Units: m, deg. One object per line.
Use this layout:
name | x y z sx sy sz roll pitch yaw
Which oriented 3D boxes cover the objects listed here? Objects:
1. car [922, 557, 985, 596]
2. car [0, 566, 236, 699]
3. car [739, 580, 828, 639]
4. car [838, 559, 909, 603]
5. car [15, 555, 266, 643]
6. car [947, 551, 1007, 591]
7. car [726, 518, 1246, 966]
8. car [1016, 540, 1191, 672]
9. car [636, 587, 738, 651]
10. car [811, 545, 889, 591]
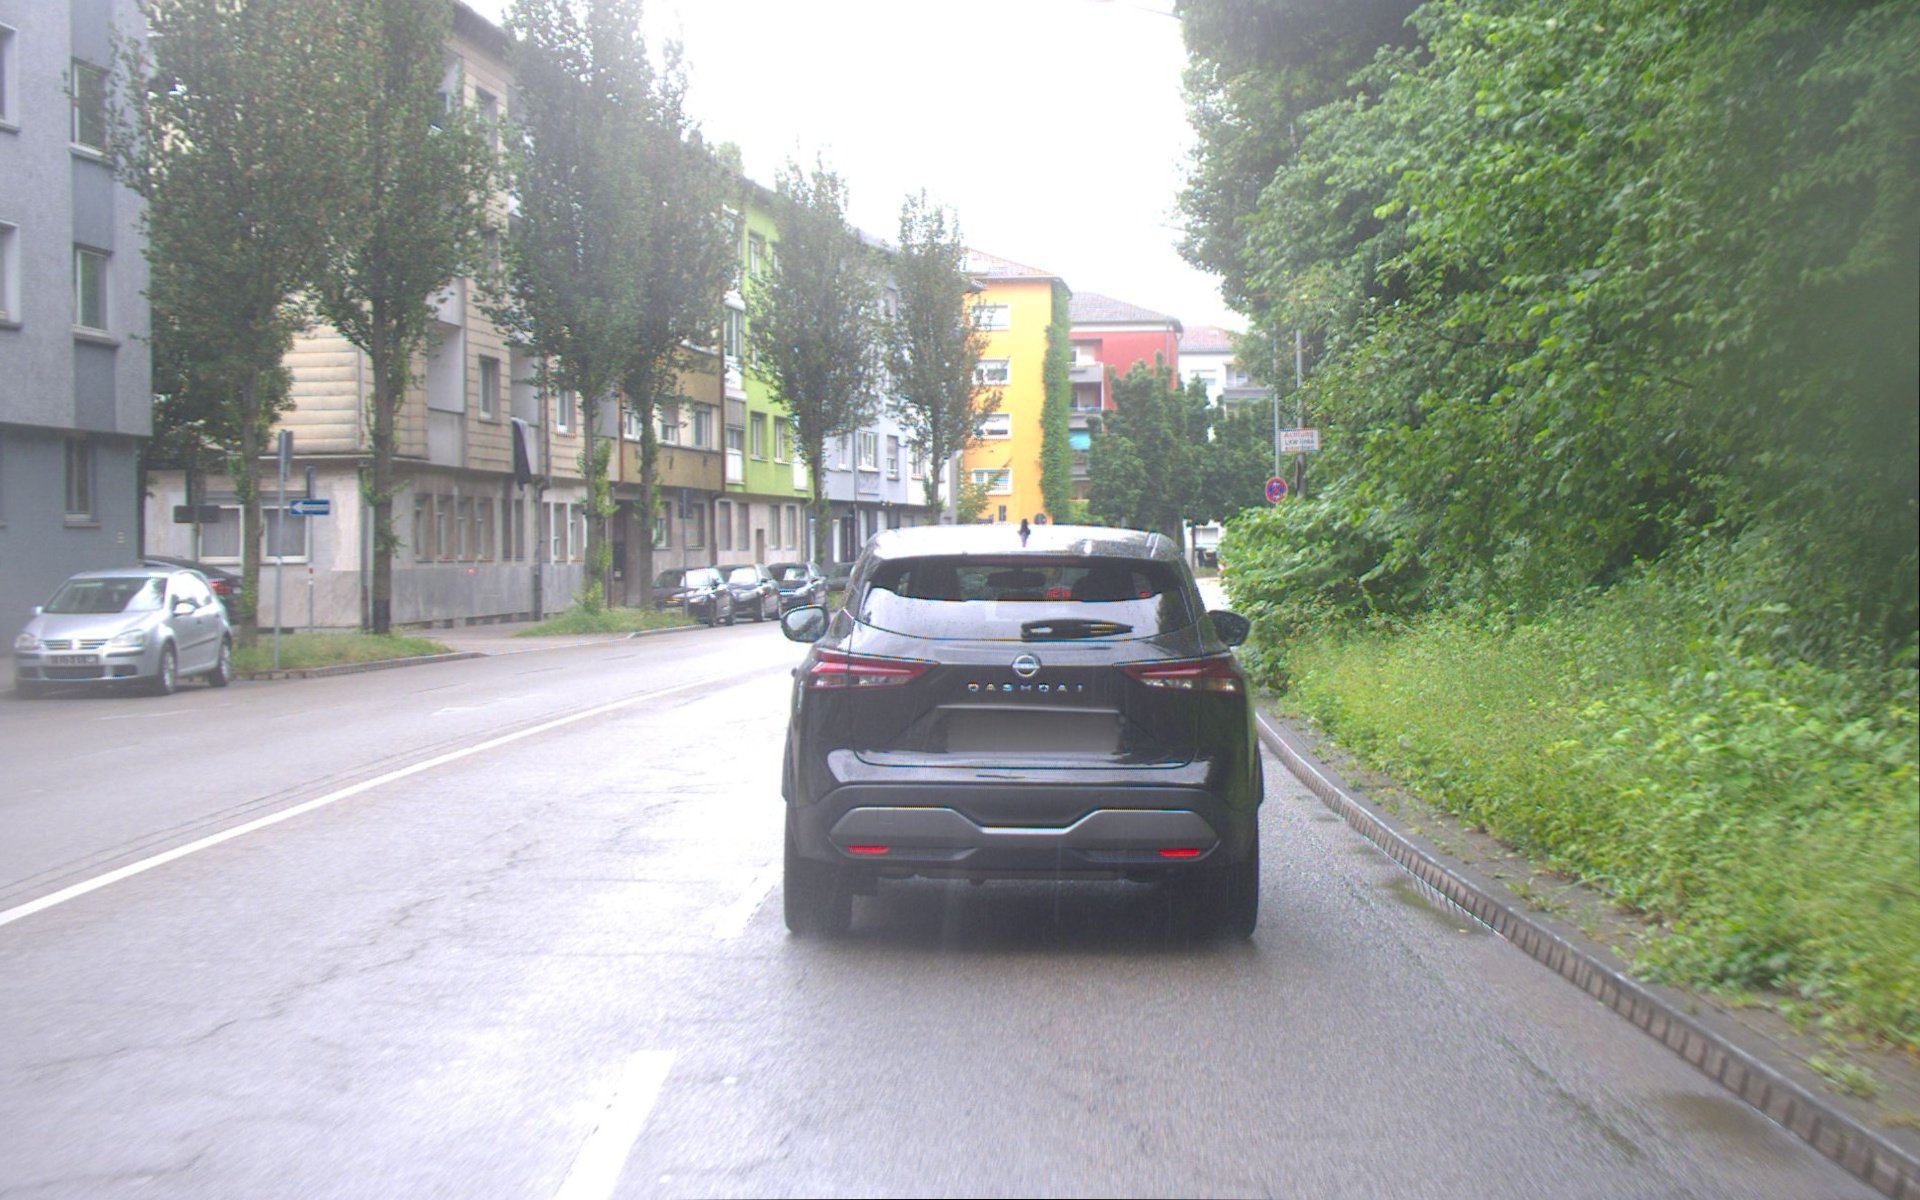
car | -0.235 -0.914 130.758 1.689 1.353 4.578 -3 0 8
car | -9.873 0.344 40.315 1.724 1.448 4.205 -1 0 2
car | -4.871 0.246 95.355 1.718 1.483 4.514 -2 1 6
car | -2.824 -0.633 112.927 1.680 1.371 3.999 -2 0 7
car | -15.301 -0.029 64.311 4.150 1.573 1.926 0 1 6
car | 0.678 -1.160 136.333 1.681 1.444 4.274 -3 0 9
car | 0.109 0.484 14.401 1.845 1.577 4.000 1 1 0
car | 2.000 0.058 46.817 1.888 1.705 3.998 1 1 9
car | -6.369 0.425 80.568 1.626 1.382 3.987 -1 1 6
car | -3.408 -1.015 107.205 1.817 1.368 4.679 -2 1 5
